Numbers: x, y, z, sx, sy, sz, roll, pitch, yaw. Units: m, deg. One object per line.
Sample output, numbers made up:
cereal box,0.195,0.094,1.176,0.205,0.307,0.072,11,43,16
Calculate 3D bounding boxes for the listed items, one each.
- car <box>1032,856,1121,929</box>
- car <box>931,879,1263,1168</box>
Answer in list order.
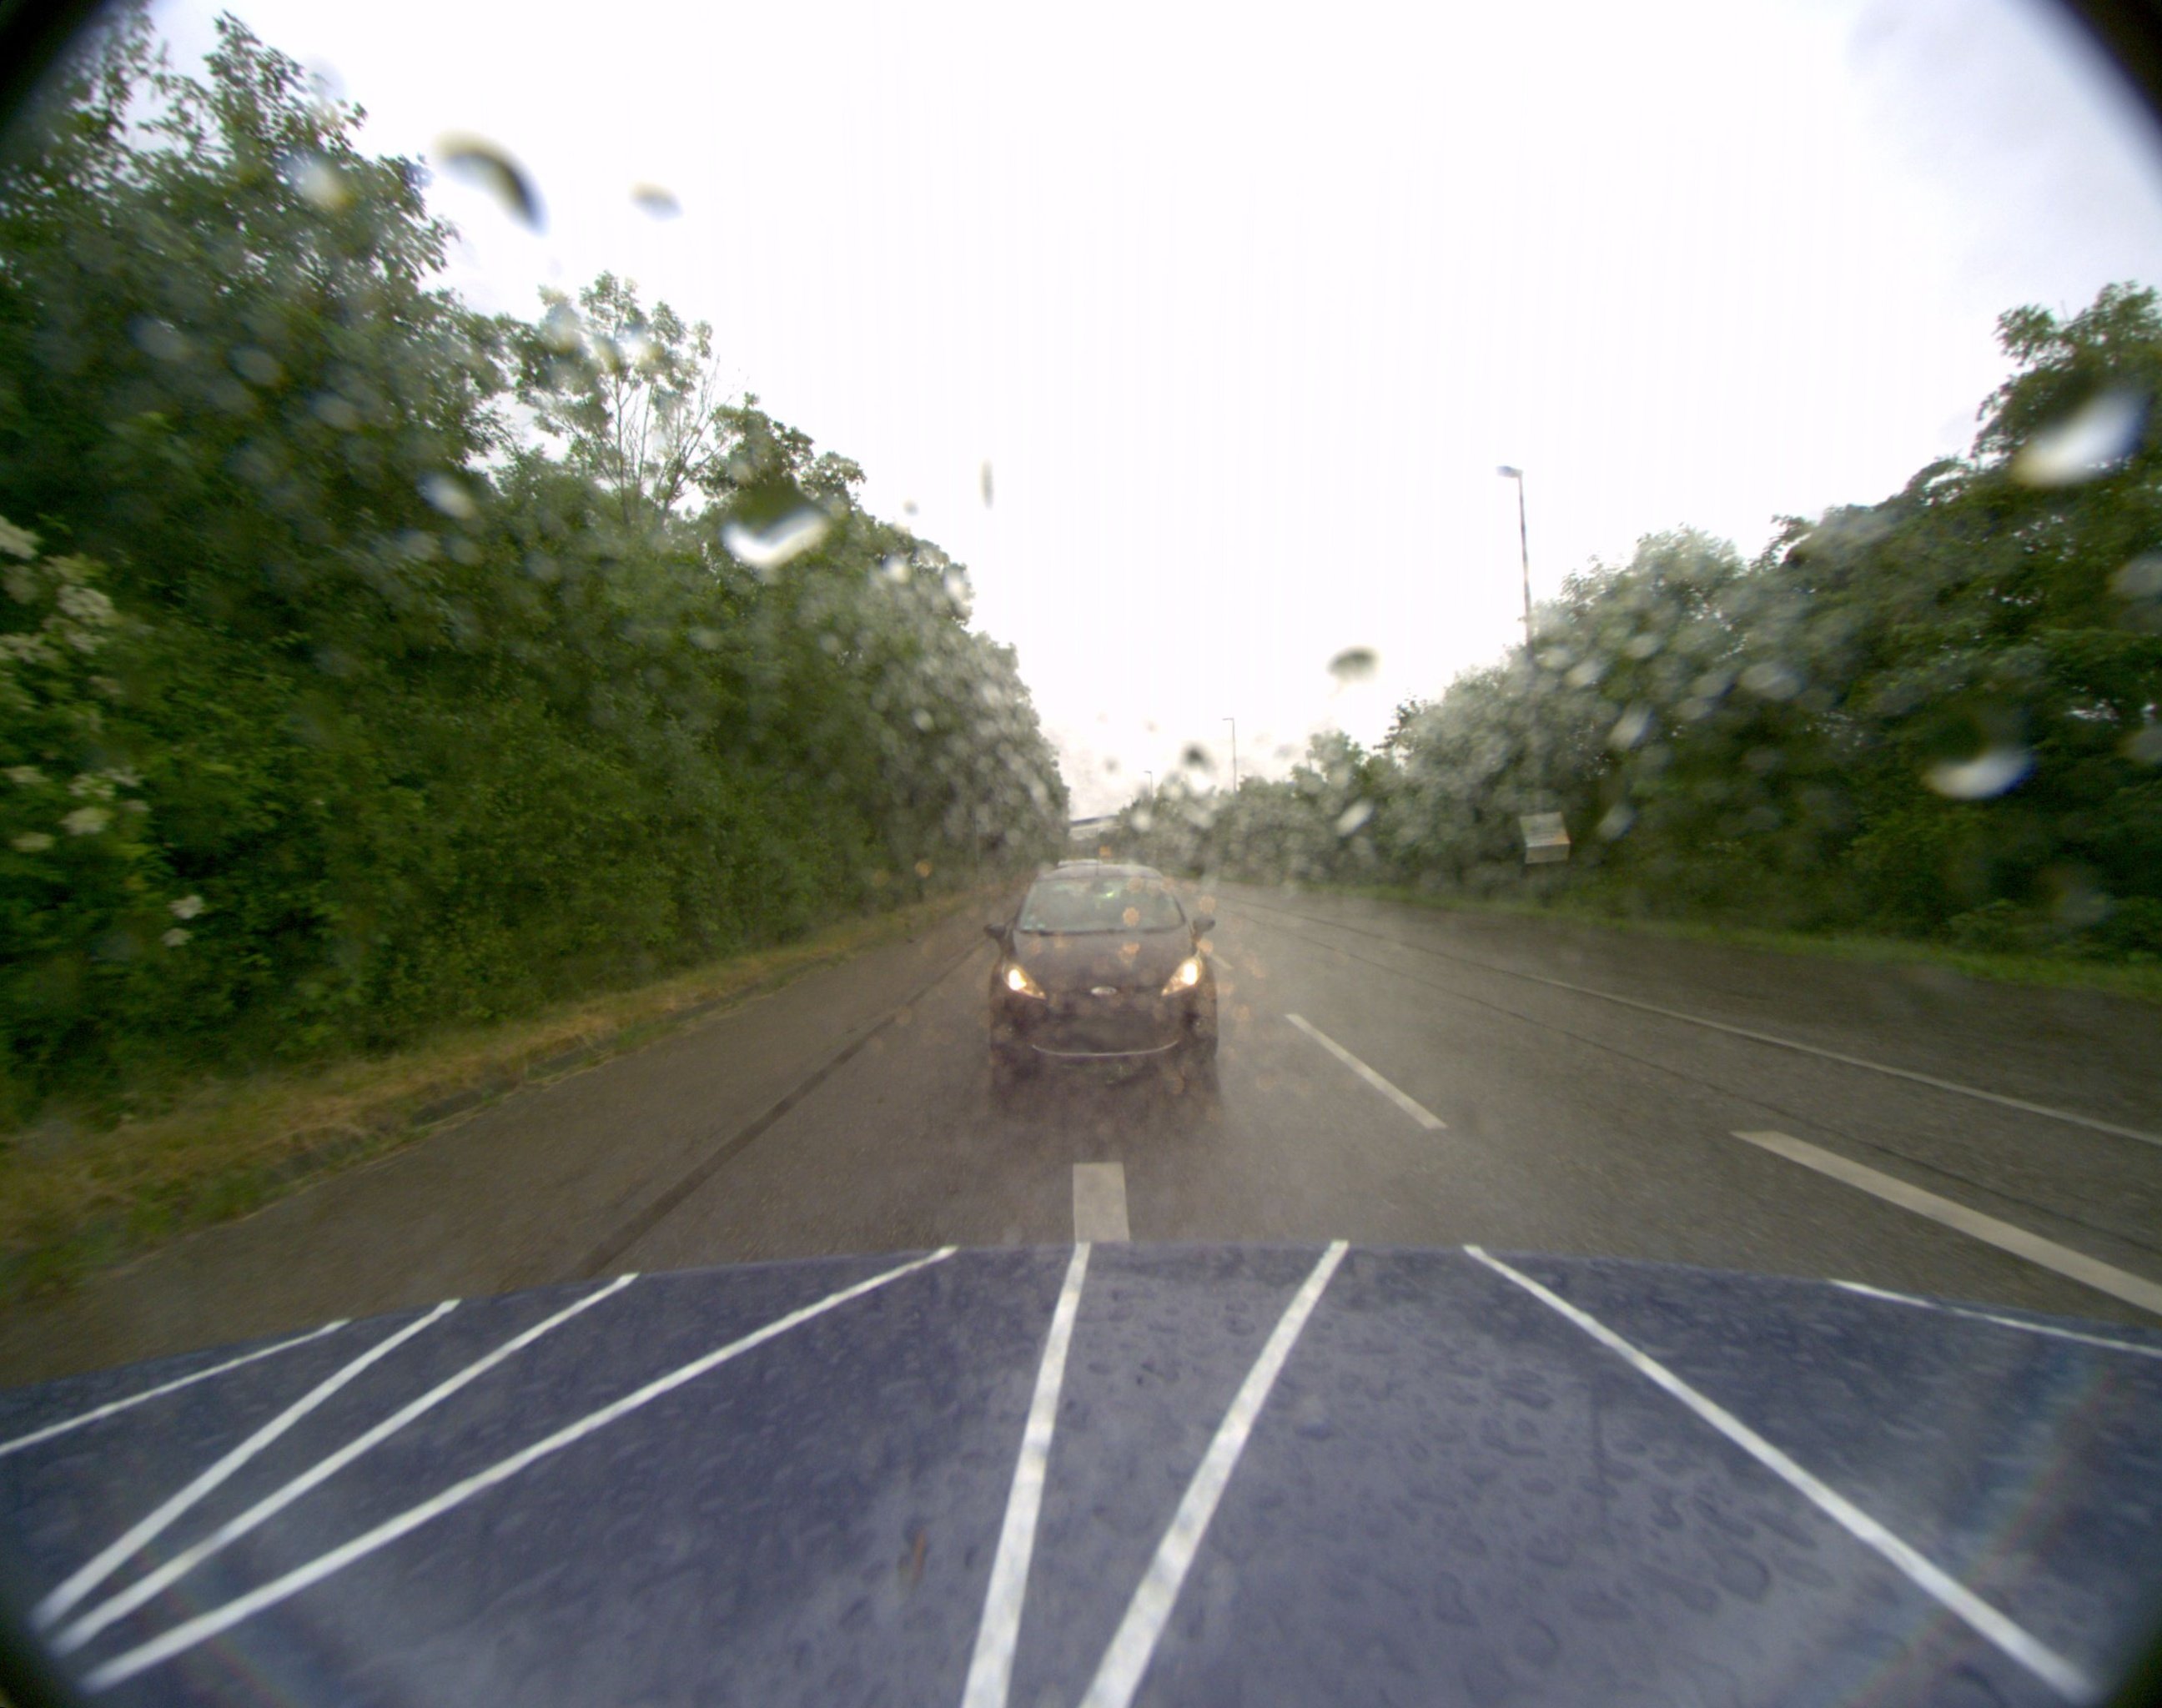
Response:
car,-0.093,0.891,19.524,1.998,1.576,3.999,-2,1,0
car,0.113,1.040,6.495,1.839,1.404,4.342,-2,1,1
